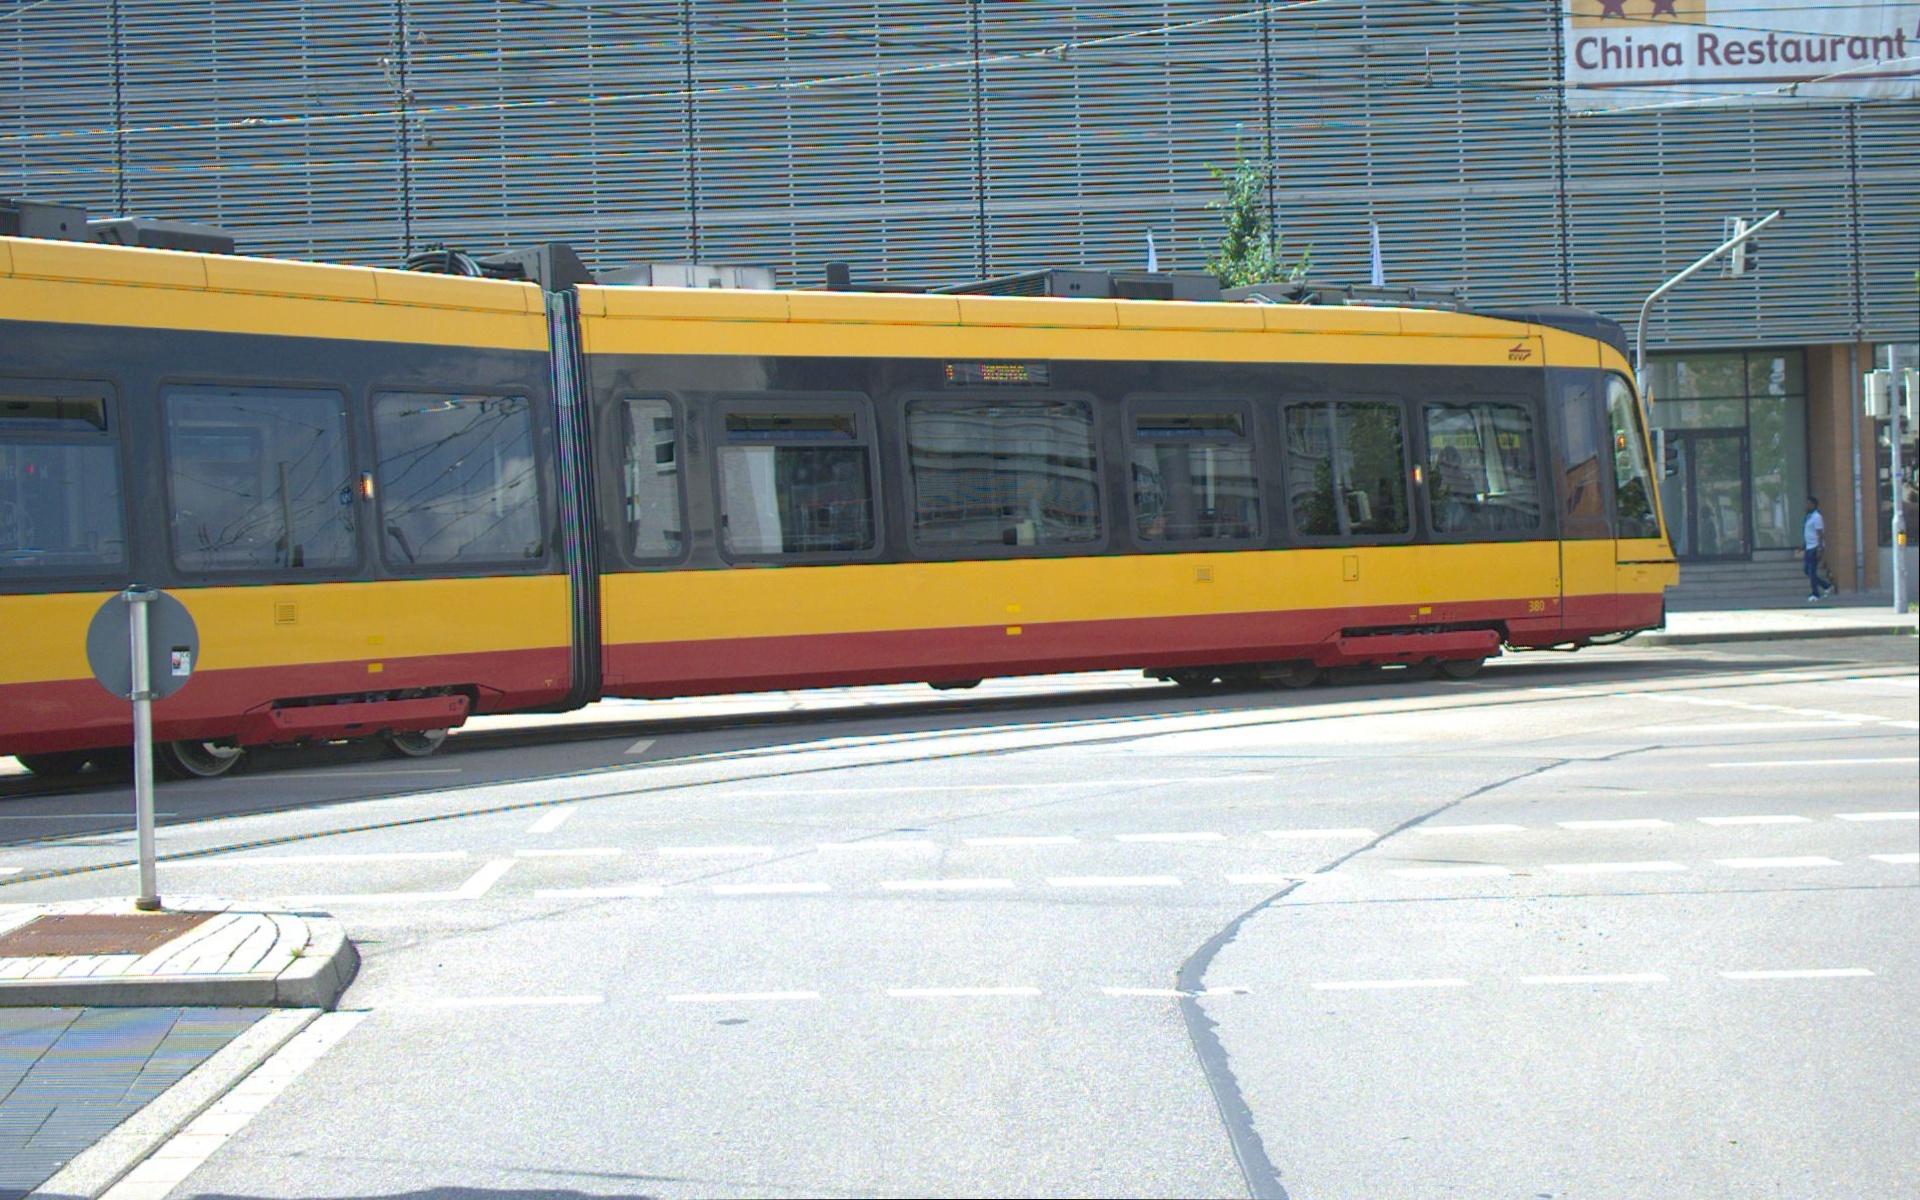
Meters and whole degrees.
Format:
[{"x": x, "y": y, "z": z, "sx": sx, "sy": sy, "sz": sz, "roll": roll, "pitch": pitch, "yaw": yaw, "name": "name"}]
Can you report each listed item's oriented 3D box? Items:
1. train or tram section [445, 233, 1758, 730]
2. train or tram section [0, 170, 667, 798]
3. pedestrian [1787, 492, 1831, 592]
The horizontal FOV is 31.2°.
[{"x": 1.776, "y": -1.024, "z": 30.139, "sx": 12.599, "sy": 3.608, "sz": 3.064, "roll": -2, "pitch": 2, "yaw": -39, "name": "train or tram section"}, {"x": -6.254, "y": -0.697, "z": 21.397, "sx": 3.060, "sy": 3.591, "sz": 10.975, "roll": 0, "pitch": 2, "yaw": 30, "name": "train or tram section"}, {"x": 15.020, "y": -1.027, "z": 60.811, "sx": 0.618, "sy": 1.740, "sz": 0.629, "roll": -1, "pitch": 1, "yaw": 1, "name": "pedestrian"}]
